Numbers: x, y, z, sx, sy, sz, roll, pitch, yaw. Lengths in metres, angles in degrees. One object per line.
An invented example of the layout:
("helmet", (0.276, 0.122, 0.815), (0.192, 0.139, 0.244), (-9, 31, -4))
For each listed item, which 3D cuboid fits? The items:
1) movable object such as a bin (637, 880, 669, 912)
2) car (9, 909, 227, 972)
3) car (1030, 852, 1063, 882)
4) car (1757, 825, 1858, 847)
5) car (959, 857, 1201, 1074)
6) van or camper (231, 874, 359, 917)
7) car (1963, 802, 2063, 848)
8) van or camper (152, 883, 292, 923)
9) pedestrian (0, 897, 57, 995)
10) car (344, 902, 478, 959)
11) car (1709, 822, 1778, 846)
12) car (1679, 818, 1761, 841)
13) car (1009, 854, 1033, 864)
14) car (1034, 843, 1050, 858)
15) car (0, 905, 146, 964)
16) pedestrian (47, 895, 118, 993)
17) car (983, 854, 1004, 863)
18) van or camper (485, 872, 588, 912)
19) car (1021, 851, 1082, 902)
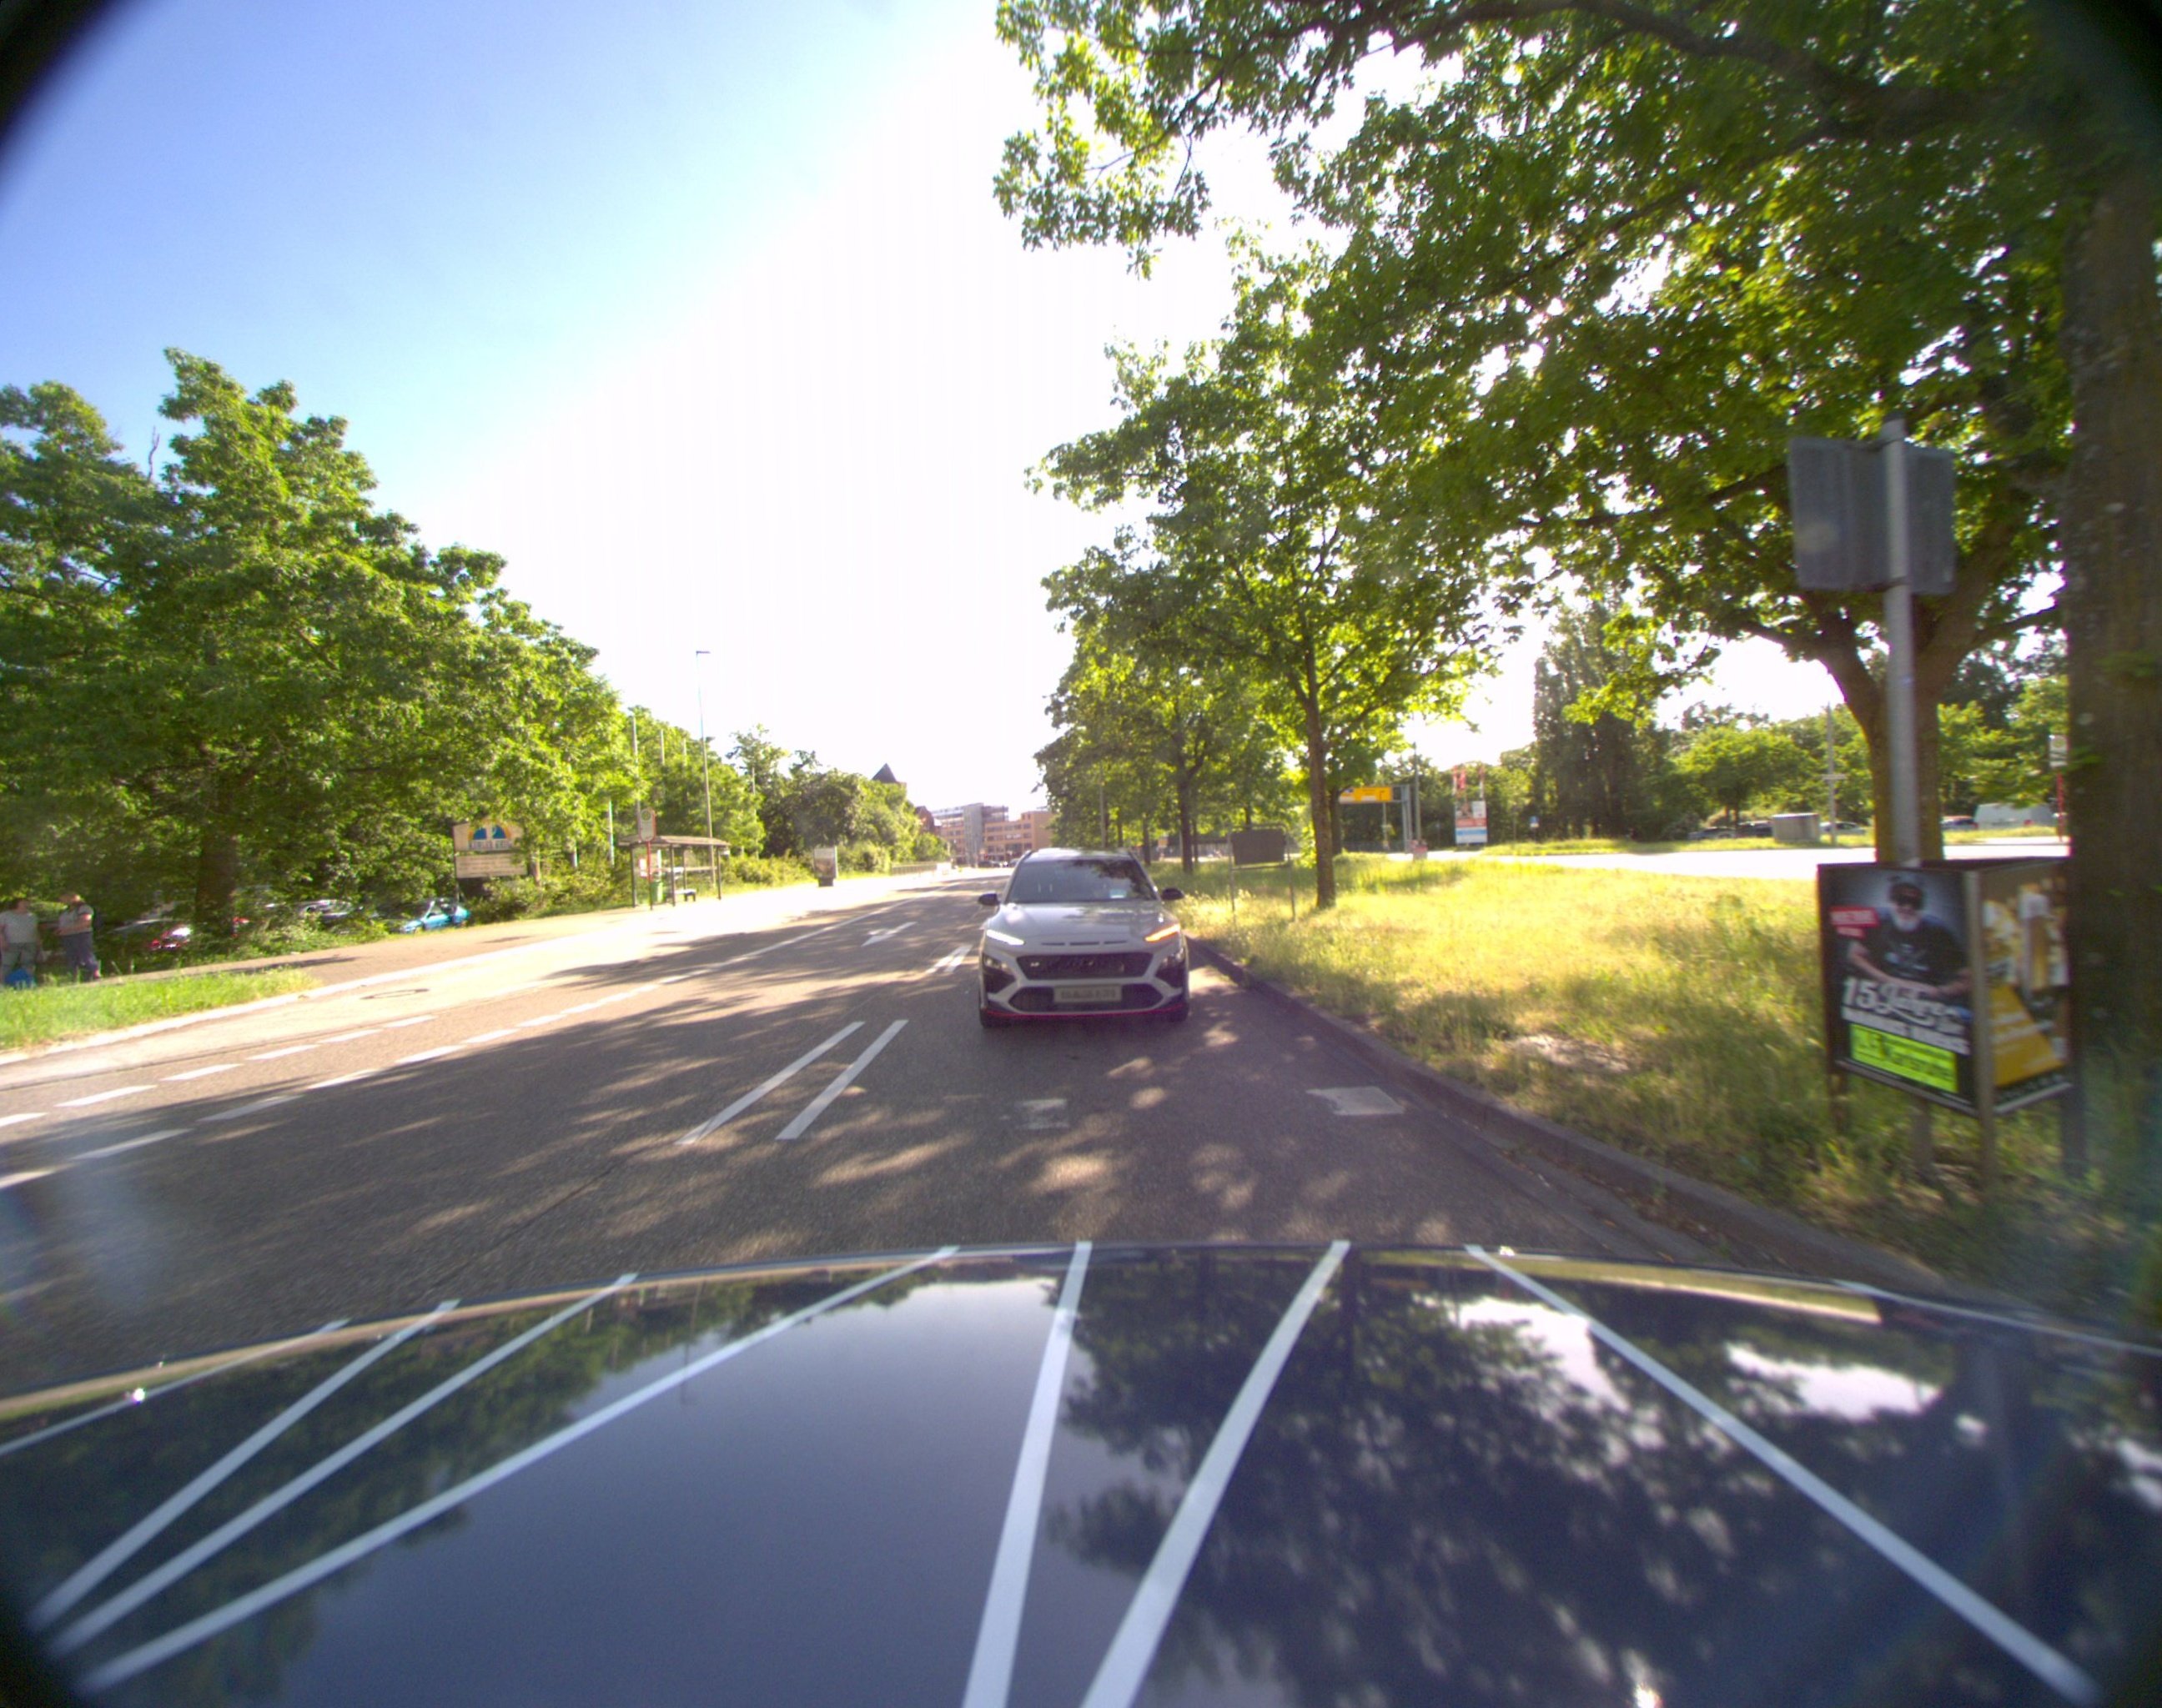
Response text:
("movable object such as a bin", (-14.842, 1.448, 26.365), (0.728, 1.024, 0.578), (-3, 1, -4))
("car", (-34.504, 3.027, 27.491), (1.757, 1.739, 4.779), (-4, -2, 0))
("car", (-1.870, 0.680, 41.370), (1.678, 1.499, 3.947), (-3, 0, -3))
("car", (42.459, -1.029, 44.534), (1.822, 1.122, 3.996), (-3, 0, -10))
("car", (-0.021, 0.862, 7.812), (1.780, 1.542, 3.979), (-3, 0, -1))
("van or camper", (-46.545, 2.411, 45.218), (2.458, 2.146, 5.323), (-3, 0, -9))
("car", (46.006, -1.449, 37.492), (5.006, 2.002, 2.234), (-3, 1, -29))
("van or camper", (-50.254, 2.803, 44.656), (2.458, 1.902, 5.324), (-3, 0, -7))
("pedestrian", (-18.518, 1.594, 13.186), (0.623, 1.625, 0.551), (-3, 1, -3))
("car", (-24.900, 2.805, 28.434), (1.766, 1.628, 3.612), (-3, 1, -1))
("car", (42.736, -1.271, 49.153), (1.818, 1.440, 4.004), (-3, 0, 16))
("car", (50.681, -1.927, 60.319), (2.003, 1.456, 4.546), (-5, 2, -33))
("car", (-9.422, 0.829, 119.070), (1.834, 1.465, 3.990), (-4, 1, -39))
("car", (-4.849, -0.418, 95.078), (1.745, 1.538, 4.003), (-4, -4, 0))
("car", (-36.612, 2.858, 26.870), (1.998, 1.587, 3.999), (-4, 1, 1))
("pedestrian", (-17.961, 1.605, 13.675), (0.604, 1.690, 0.410), (-3, 1, -4))
("car", (-17.344, 0.906, 151.306), (3.998, 1.622, 1.999), (-3, 1, -4))
("van or camper", (-30.972, 2.123, 43.460), (2.458, 1.902, 5.324), (-3, 0, -7))
("car", (-0.937, 0.707, 26.112), (1.744, 1.539, 4.000), (-3, 0, 2))
